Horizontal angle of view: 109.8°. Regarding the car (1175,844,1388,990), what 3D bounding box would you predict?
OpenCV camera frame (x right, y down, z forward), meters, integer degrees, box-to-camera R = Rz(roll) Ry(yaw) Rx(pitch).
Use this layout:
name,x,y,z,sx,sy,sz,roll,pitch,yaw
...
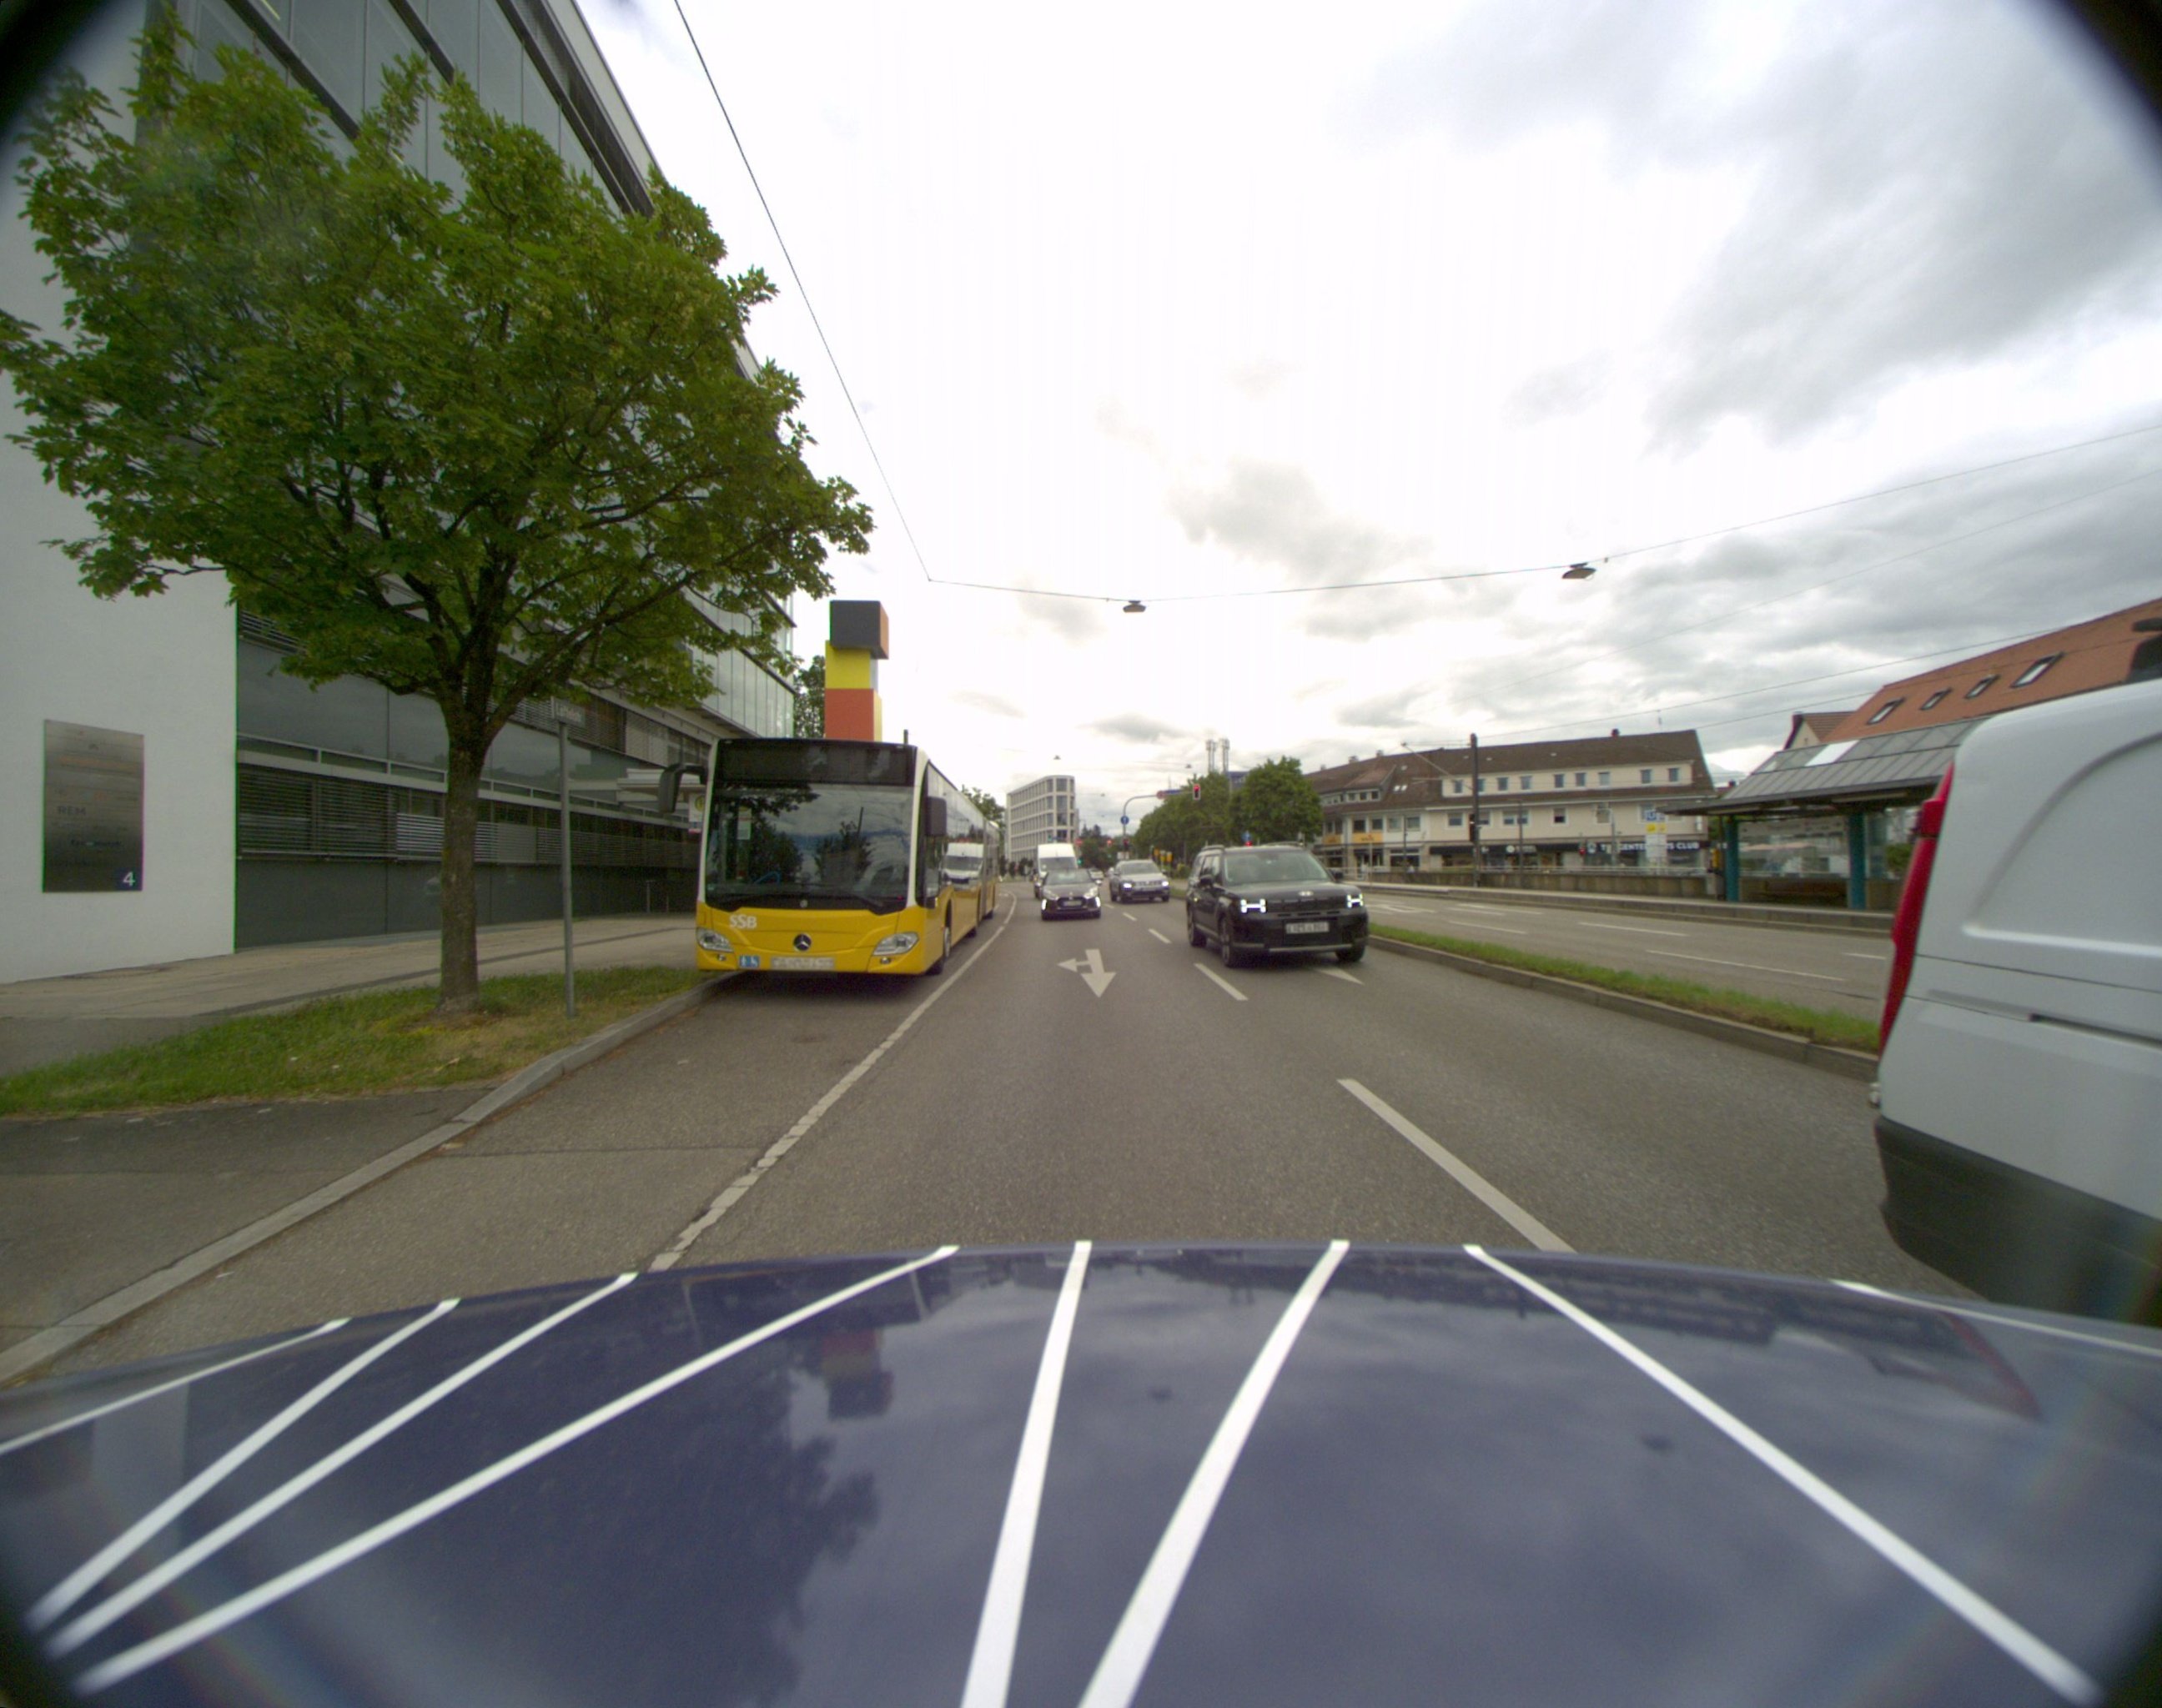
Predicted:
name,x,y,z,sx,sy,sz,roll,pitch,yaw
car,2.835,0.822,11.984,1.927,1.741,4.678,-3,0,-2

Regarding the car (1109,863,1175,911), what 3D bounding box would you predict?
name,x,y,z,sx,sy,sz,roll,pitch,yaw
car,2.303,1.235,29.928,1.999,1.640,4.393,-2,0,-2

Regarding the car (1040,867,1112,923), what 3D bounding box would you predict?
name,x,y,z,sx,sy,sz,roll,pitch,yaw
car,-0.242,1.152,22.811,1.864,1.516,3.999,0,-1,-5

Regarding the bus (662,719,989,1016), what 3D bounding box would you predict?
name,x,y,z,sx,sy,sz,roll,pitch,yaw
bus,-3.268,0.218,12.683,2.720,3.145,9.126,1,-1,-3

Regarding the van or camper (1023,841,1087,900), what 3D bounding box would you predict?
name,x,y,z,sx,sy,sz,roll,pitch,yaw
van or camper,-1.461,0.804,38.579,2.282,2.690,6.989,0,-1,-10

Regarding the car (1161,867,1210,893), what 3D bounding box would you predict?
name,x,y,z,sx,sy,sz,roll,pitch,yaw
car,6.375,1.552,46.879,2.000,1.503,4.642,0,-1,-6

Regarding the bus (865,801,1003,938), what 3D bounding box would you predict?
name,x,y,z,sx,sy,sz,roll,pitch,yaw
bus,-3.783,0.402,21.729,2.720,3.090,8.868,0,-1,-3

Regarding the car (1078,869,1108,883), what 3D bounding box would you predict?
name,x,y,z,sx,sy,sz,roll,pitch,yaw
car,1.234,2.365,82.261,2.001,1.348,4.805,-1,-1,-15
